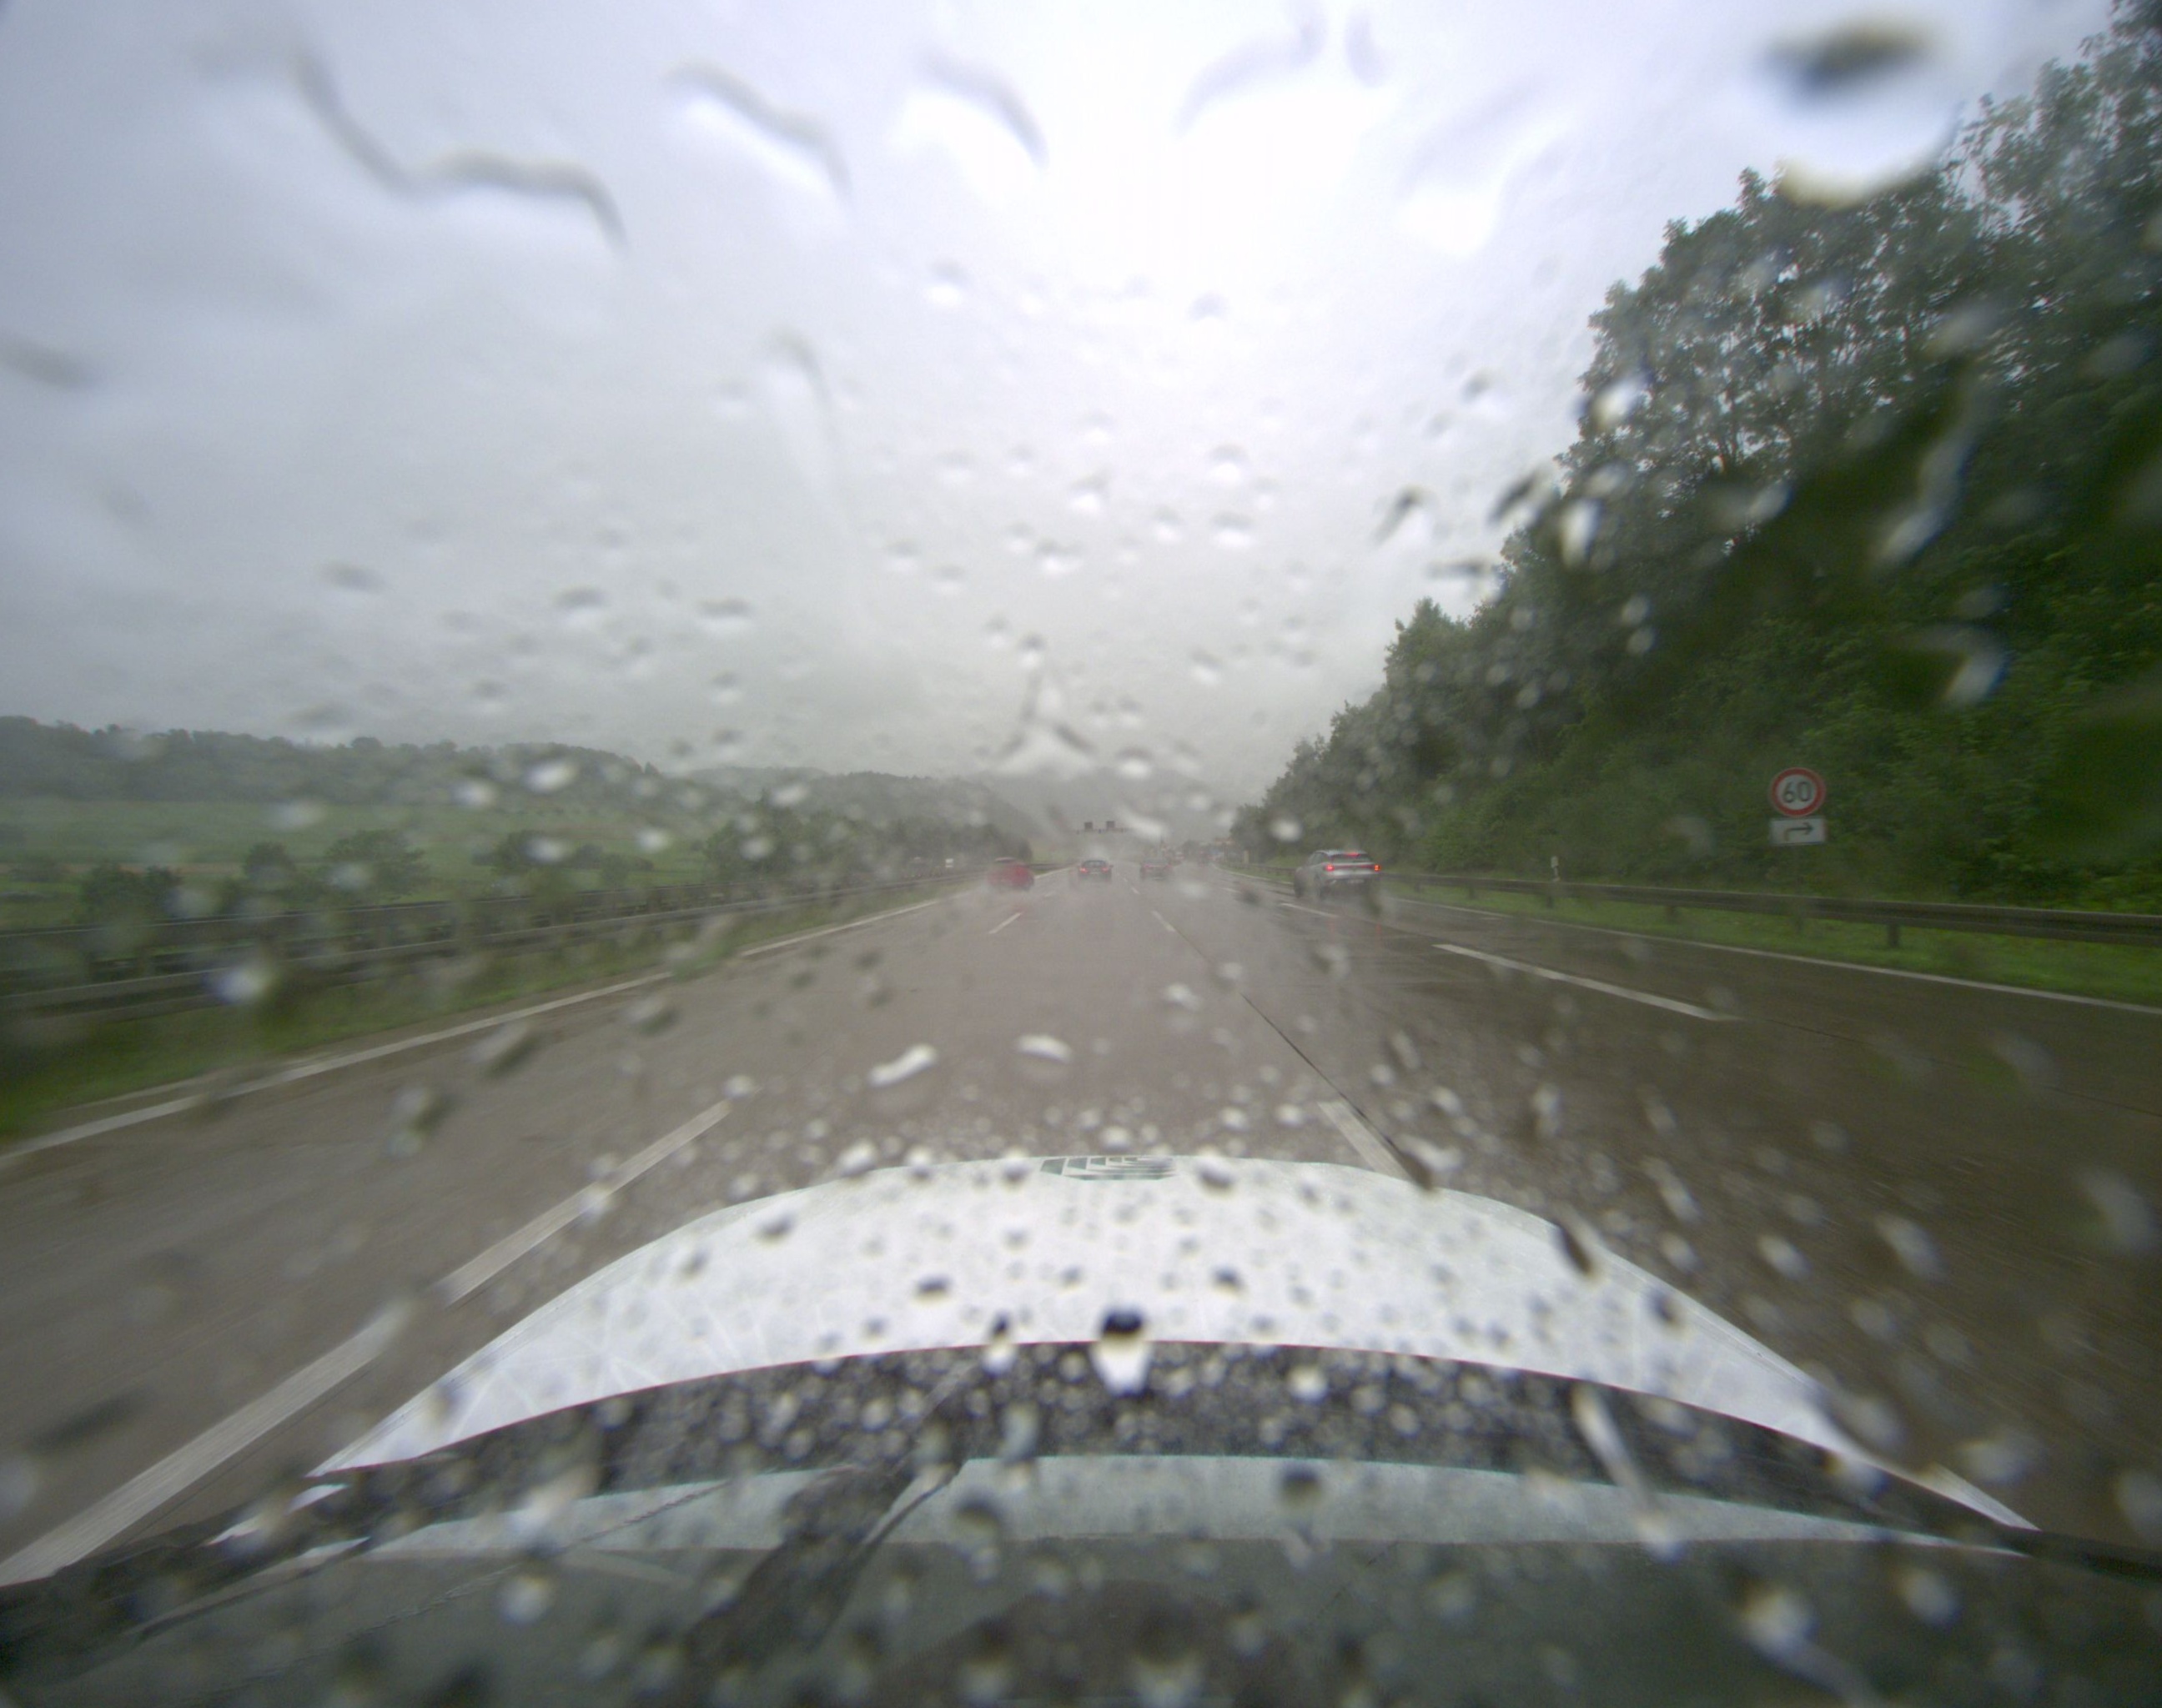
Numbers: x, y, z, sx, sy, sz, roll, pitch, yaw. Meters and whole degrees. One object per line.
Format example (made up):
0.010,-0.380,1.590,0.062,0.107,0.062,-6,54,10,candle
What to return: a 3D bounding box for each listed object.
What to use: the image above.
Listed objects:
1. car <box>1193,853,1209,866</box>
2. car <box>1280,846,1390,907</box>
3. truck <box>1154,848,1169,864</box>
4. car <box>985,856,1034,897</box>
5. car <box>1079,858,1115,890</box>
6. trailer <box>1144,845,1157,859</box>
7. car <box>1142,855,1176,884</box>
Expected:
19.146,0.883,129.638,1.980,2.013,5.073,-1,0,13,car
8.115,0.689,26.660,1.986,1.750,5.665,-1,-1,2,car
22.477,0.440,228.349,3.388,4.402,11.054,0,0,2,truck
-3.319,1.025,38.659,1.878,1.816,4.000,-2,0,1,car
0.876,1.038,43.708,1.852,1.589,4.001,-1,-1,2,car
21.991,-0.707,258.750,3.502,4.262,11.927,-1,-1,3,trailer
5.069,0.994,53.360,1.964,1.760,4.002,-1,0,2,car
